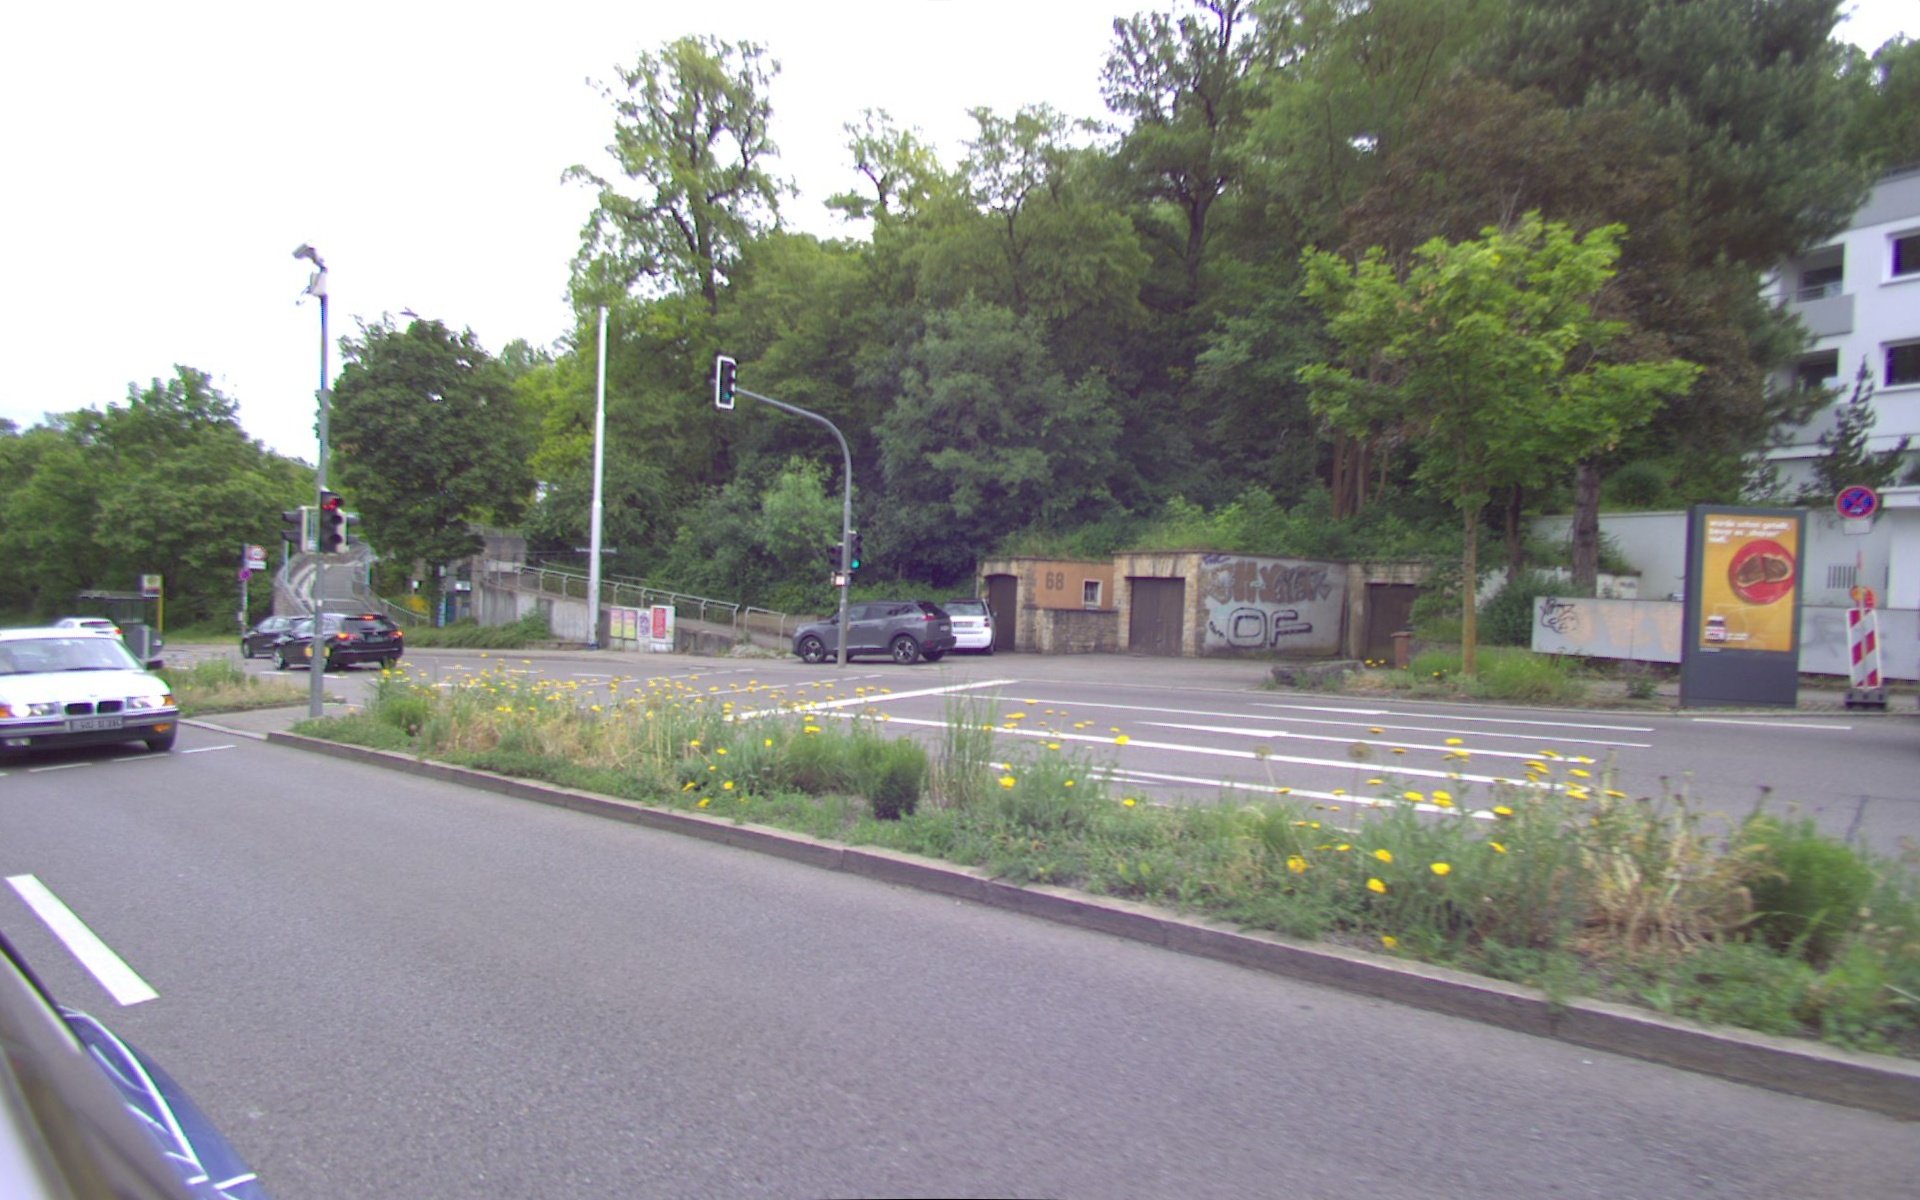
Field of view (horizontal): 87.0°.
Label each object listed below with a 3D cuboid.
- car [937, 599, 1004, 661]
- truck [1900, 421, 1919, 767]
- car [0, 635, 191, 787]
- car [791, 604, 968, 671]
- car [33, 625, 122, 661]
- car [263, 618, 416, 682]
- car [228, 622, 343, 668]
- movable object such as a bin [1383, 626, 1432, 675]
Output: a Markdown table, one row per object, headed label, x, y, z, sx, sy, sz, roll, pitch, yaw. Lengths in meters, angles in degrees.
| label | x | y | z | sx | sy | sz | roll | pitch | yaw |
| --- | --- | --- | --- | --- | --- | --- | --- | --- | --- |
| car | 0.332 | 0.799 | 28.275 | 1.545 | 1.531 | 2.705 | -1 | 2 | 7 |
| truck | 12.390 | -0.150 | 6.607 | 2.926 | 2.993 | 8.985 | -1 | -1 | -44 |
| car | -10.681 | 1.147 | 11.797 | 4.610 | 1.404 | 1.735 | -1 | -1 | 40 |
| car | -2.006 | 0.913 | 24.961 | 4.107 | 1.551 | 1.586 | -1 | -1 | 24 |
| car | -37.899 | 1.821 | 43.442 | 4.128 | 1.404 | 1.639 | -1 | 1 | 31 |
| car | -16.415 | 1.273 | 26.708 | 4.542 | 1.512 | 1.678 | -1 | 0 | 33 |
| car | -22.798 | 1.494 | 34.175 | 3.840 | 1.404 | 1.615 | -1 | 1 | 29 |
| movable object such as a bin | 9.800 | 1.103 | 22.161 | 0.630 | 1.019 | 0.732 | -1 | 0 | -23 |
